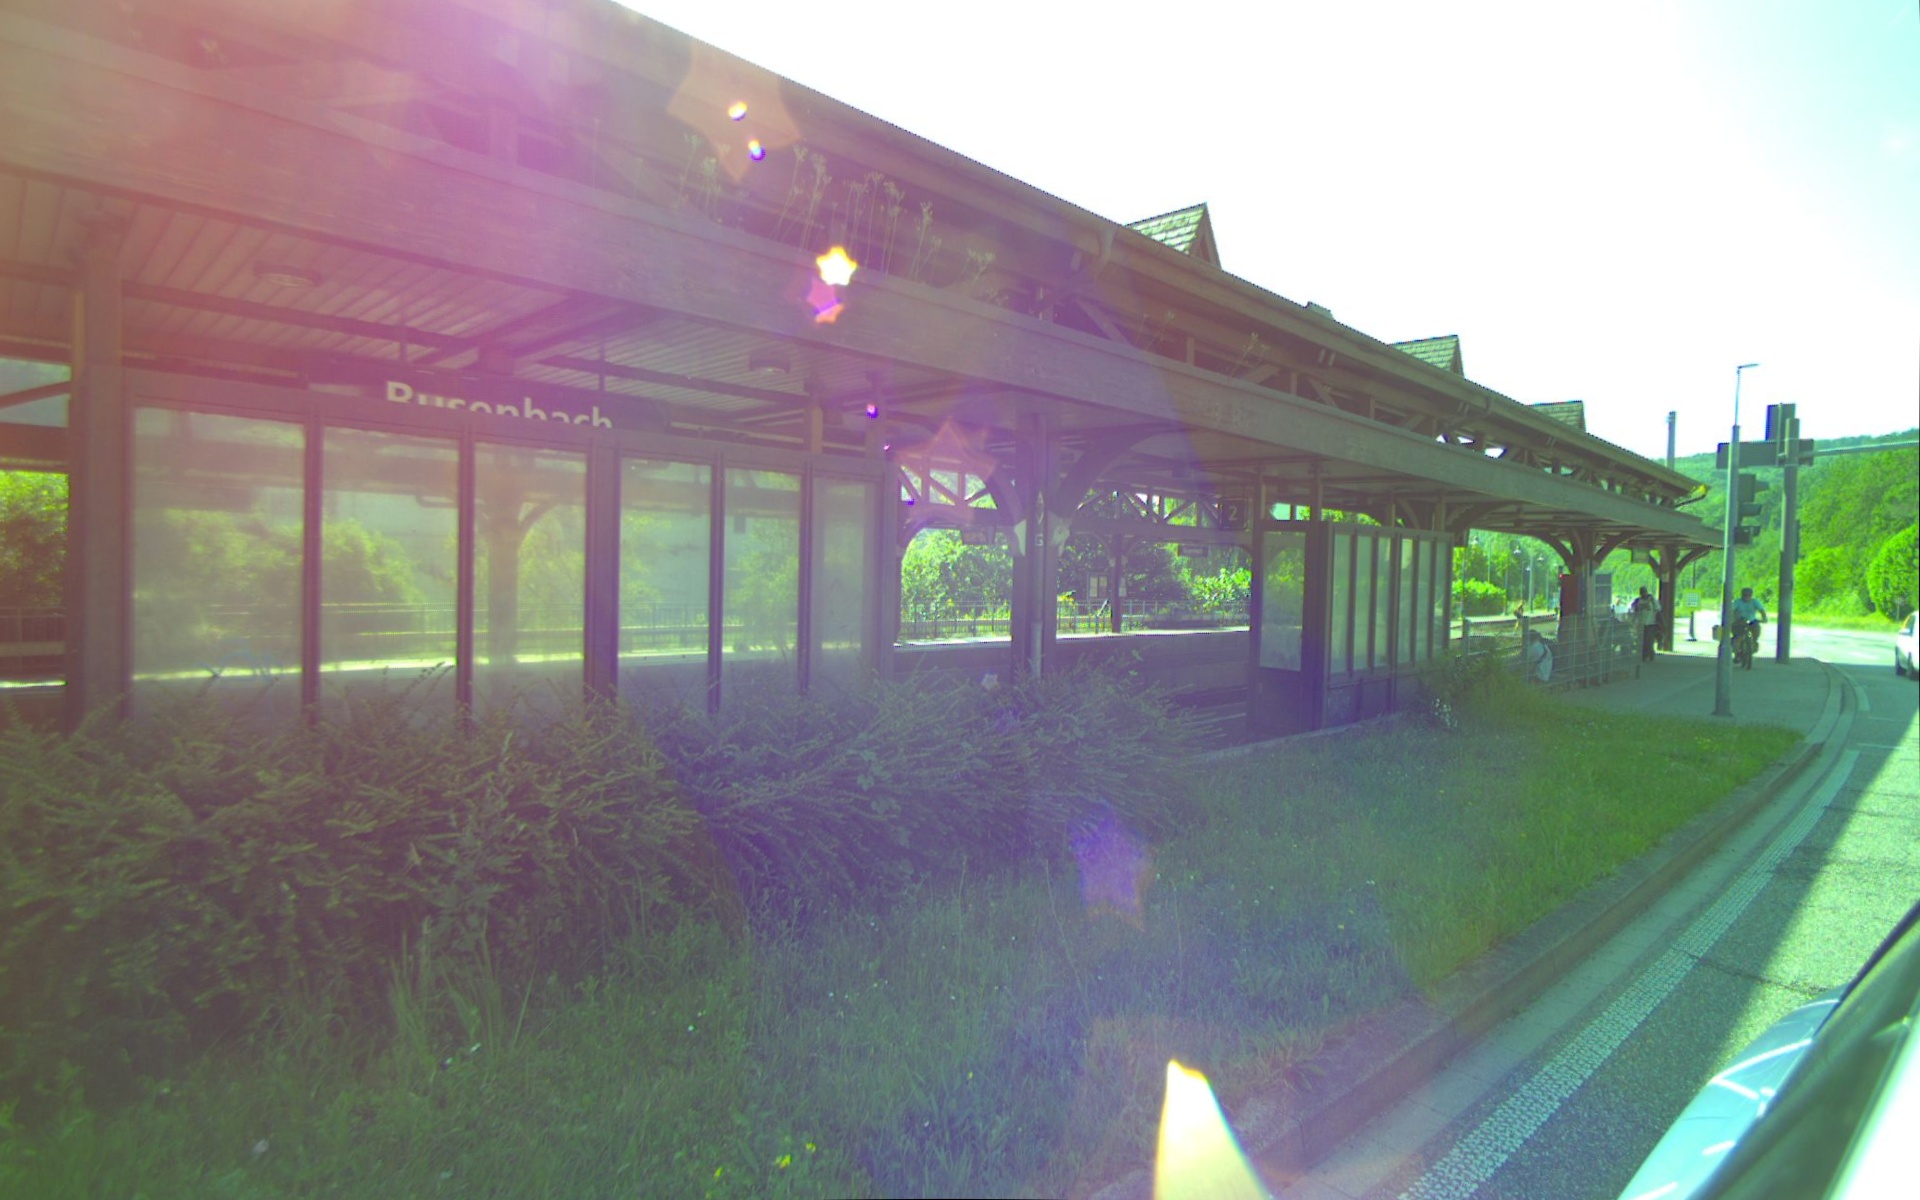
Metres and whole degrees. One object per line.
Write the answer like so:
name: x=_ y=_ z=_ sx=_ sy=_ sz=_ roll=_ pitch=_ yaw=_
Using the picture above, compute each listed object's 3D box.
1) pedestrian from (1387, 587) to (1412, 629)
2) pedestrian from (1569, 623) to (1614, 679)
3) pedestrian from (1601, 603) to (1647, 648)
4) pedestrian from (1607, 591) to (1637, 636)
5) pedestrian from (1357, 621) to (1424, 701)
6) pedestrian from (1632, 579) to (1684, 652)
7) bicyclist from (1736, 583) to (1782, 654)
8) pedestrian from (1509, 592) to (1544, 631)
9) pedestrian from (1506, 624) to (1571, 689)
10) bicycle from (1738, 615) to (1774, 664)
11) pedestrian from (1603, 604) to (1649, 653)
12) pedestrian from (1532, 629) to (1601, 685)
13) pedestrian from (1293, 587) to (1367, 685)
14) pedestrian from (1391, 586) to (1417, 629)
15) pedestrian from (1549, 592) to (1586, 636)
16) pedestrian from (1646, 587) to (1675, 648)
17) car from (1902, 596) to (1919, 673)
pedestrian: x=20.240 y=0.373 z=46.624 sx=0.899 sy=1.873 sz=0.811 roll=-1 pitch=-2 yaw=38
pedestrian: x=11.258 y=0.893 z=18.051 sx=0.616 sy=0.978 sz=0.400 roll=-1 pitch=-2 yaw=42
pedestrian: x=18.048 y=0.687 z=27.501 sx=1.003 sy=1.174 sz=0.937 roll=1 pitch=0 yaw=35
pedestrian: x=25.844 y=0.527 z=39.537 sx=0.813 sy=1.706 sz=0.896 roll=0 pitch=-2 yaw=24
pedestrian: x=6.349 y=0.879 z=14.918 sx=0.741 sy=1.131 sz=0.657 roll=-1 pitch=-2 yaw=42
pedestrian: x=17.389 y=0.402 z=25.207 sx=0.913 sy=1.759 sz=1.232 roll=-1 pitch=-2 yaw=42
bicyclist: x=18.269 y=0.411 z=23.167 sx=0.783 sy=1.589 sz=0.934 roll=-1 pitch=-1 yaw=38
pedestrian: x=24.936 y=0.507 z=44.549 sx=1.101 sy=1.706 sz=0.905 roll=1 pitch=-2 yaw=-28
pedestrian: x=9.115 y=0.873 z=15.950 sx=0.741 sy=0.995 sz=0.757 roll=-1 pitch=-2 yaw=42
bicycle: x=18.221 y=0.882 z=23.189 sx=0.600 sy=1.069 sz=1.789 roll=-1 pitch=-1 yaw=37
pedestrian: x=17.413 y=0.739 z=26.453 sx=0.988 sy=1.251 sz=0.589 roll=-1 pitch=-2 yaw=36
pedestrian: x=10.091 y=0.929 z=16.845 sx=0.844 sy=0.885 sz=0.795 roll=-1 pitch=-2 yaw=42
pedestrian: x=6.250 y=0.592 z=17.082 sx=0.860 sy=1.567 sz=0.908 roll=1 pitch=-1 yaw=43
pedestrian: x=19.714 y=0.332 z=44.937 sx=0.899 sy=1.873 sz=0.811 roll=-1 pitch=-2 yaw=38
pedestrian: x=25.971 y=0.602 z=43.266 sx=1.053 sy=1.867 sz=0.990 roll=3 pitch=-2 yaw=-35
pedestrian: x=20.154 y=0.486 z=29.115 sx=0.655 sy=1.713 sz=0.730 roll=1 pitch=1 yaw=35
car: x=21.851 y=0.719 z=21.878 sx=1.991 sy=1.605 sz=3.940 roll=-1 pitch=-1 yaw=41
